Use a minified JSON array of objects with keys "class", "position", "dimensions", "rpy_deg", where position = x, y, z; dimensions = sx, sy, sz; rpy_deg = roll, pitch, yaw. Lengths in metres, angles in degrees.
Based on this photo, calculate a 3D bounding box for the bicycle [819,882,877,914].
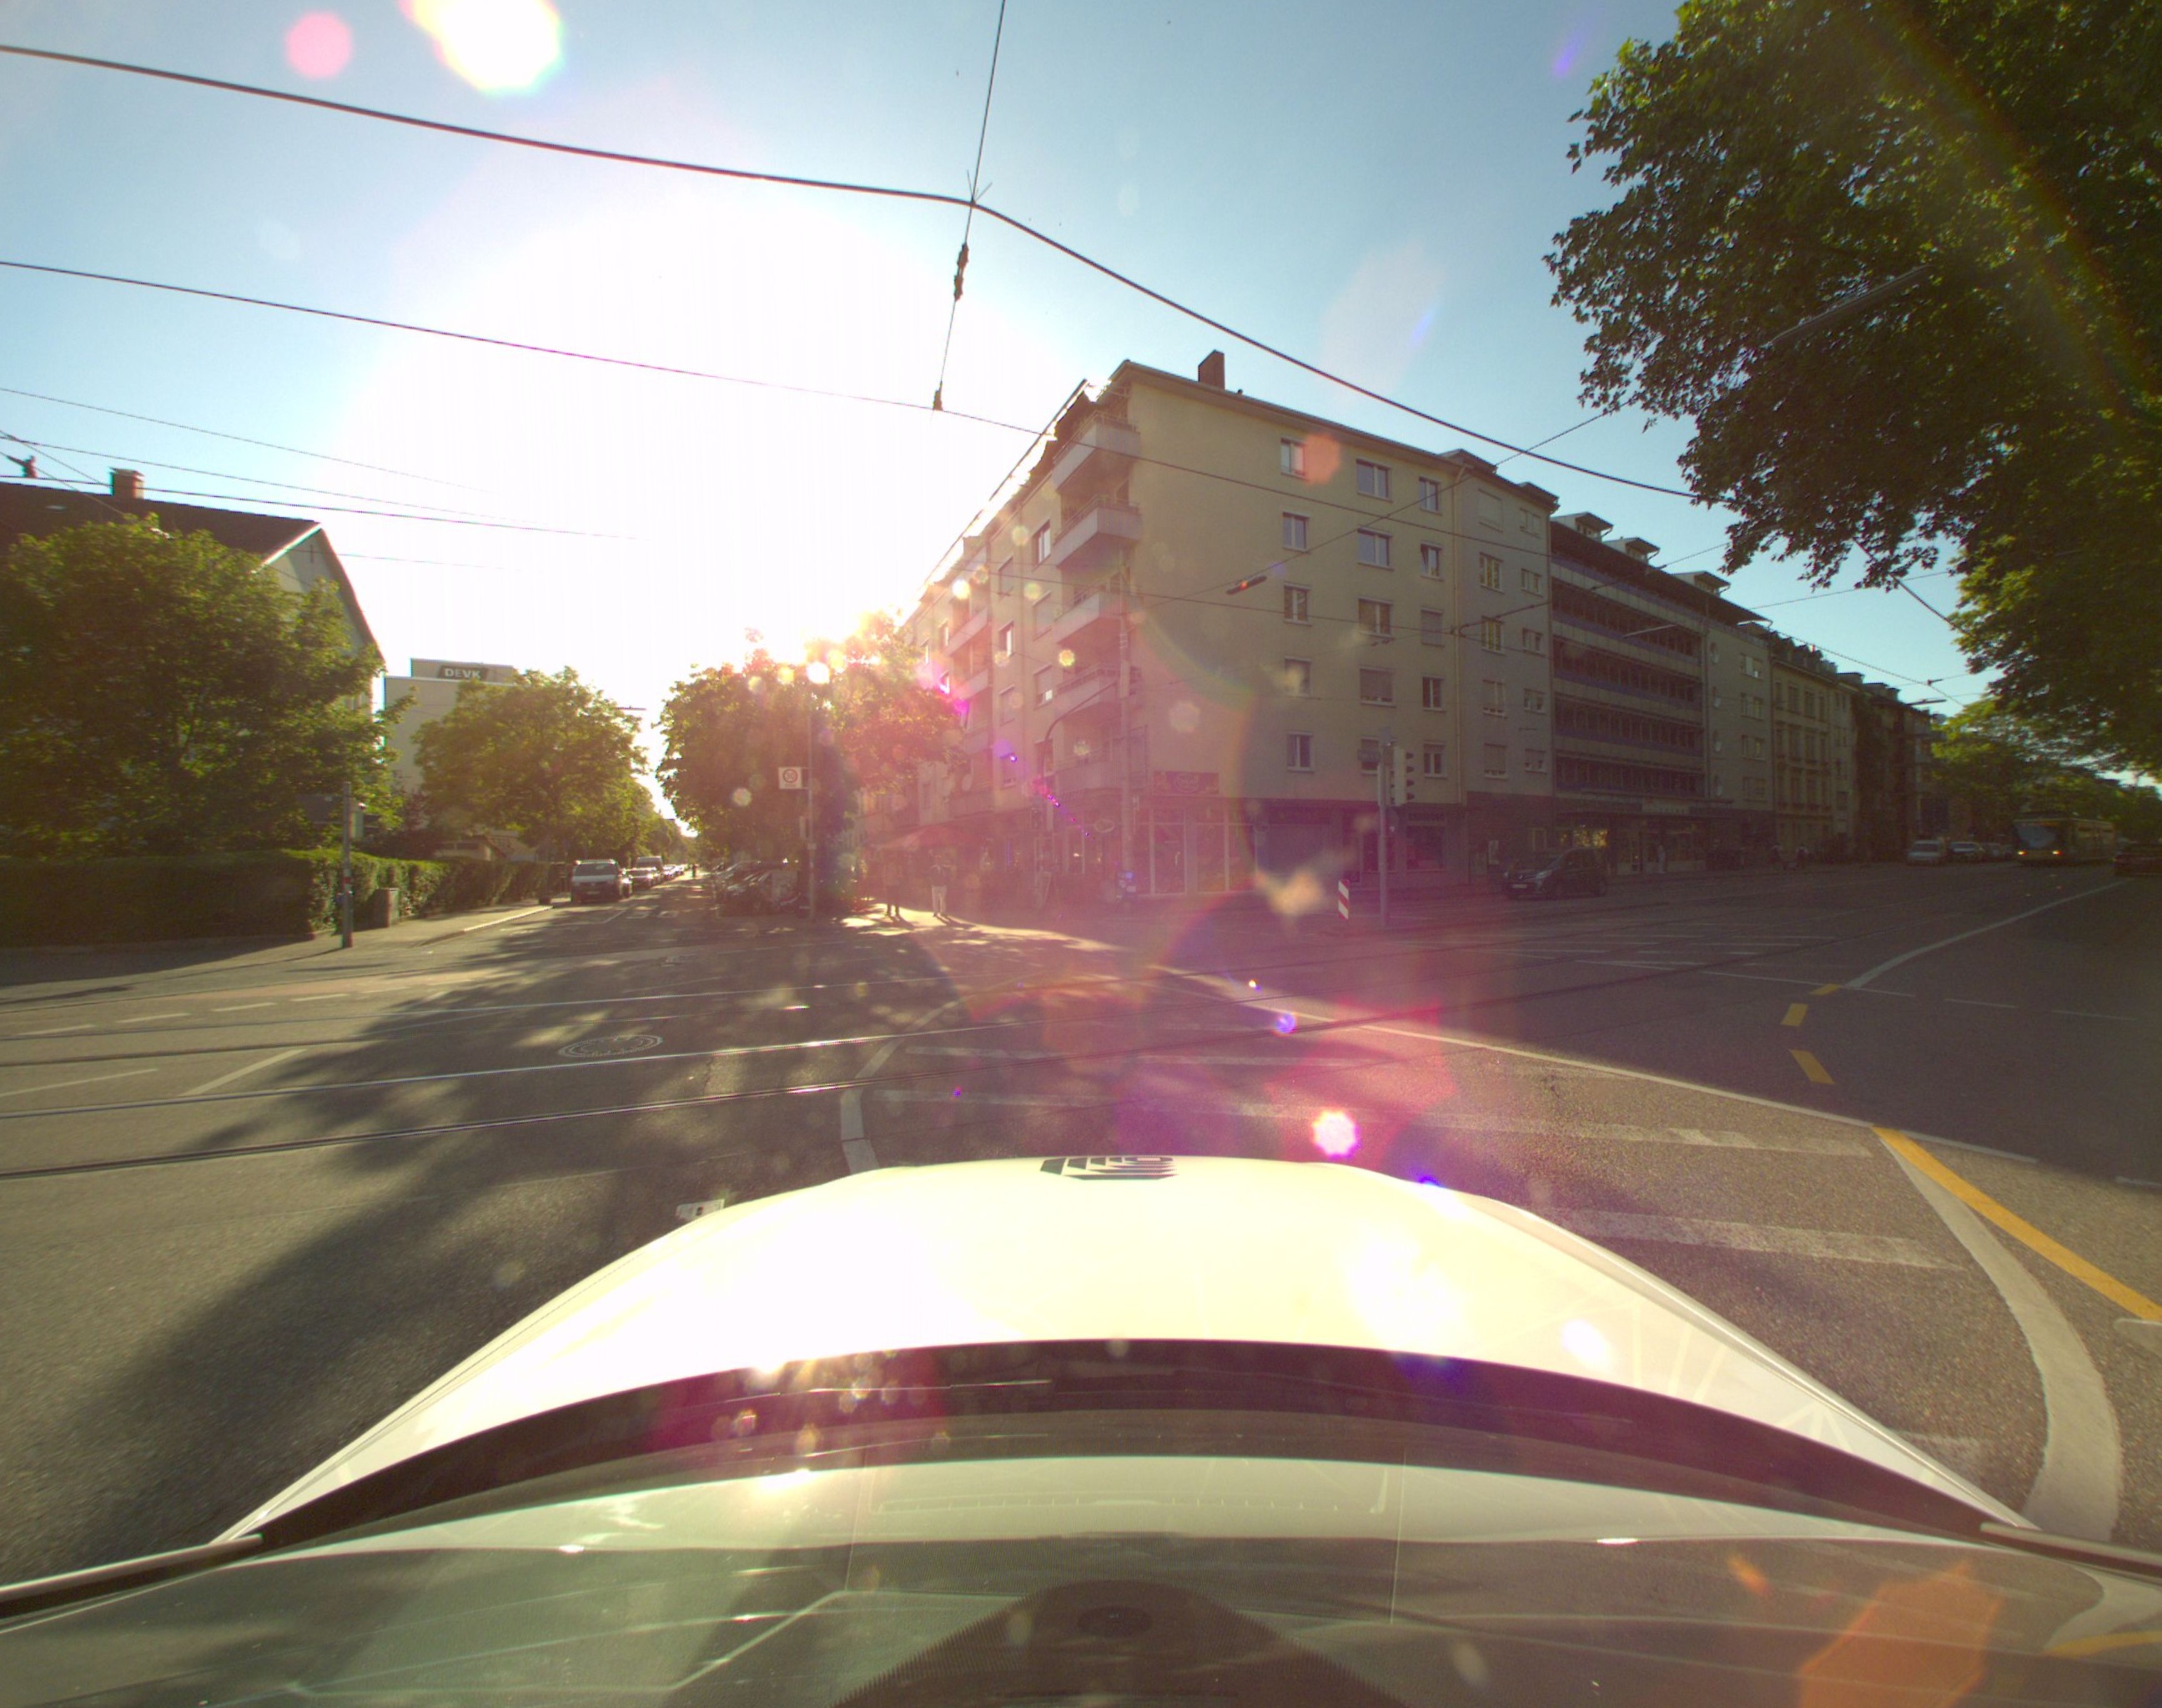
[{"class":"bicycle","position":[-7.616,1.427,26.615],"dimensions":[1.732,0.932,0.557],"rpy_deg":[-1,-1,-26]}]

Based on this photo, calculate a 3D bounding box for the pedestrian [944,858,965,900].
[{"class":"pedestrian","position":[-4.870,0.951,31.393],"dimensions":[0.622,1.591,0.473],"rpy_deg":[0,-1,-42]}]

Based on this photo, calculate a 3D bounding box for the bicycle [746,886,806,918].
[{"class":"bicycle","position":[-9.774,1.514,26.123],"dimensions":[1.732,0.932,0.666],"rpy_deg":[-1,-1,-26]}]

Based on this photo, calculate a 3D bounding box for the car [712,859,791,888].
[{"class":"car","position":[-23.871,1.440,59.037],"dimensions":[5.120,1.924,2.340],"rpy_deg":[-1,-3,-29]}]

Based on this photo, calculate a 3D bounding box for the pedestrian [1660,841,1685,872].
[{"class":"pedestrian","position":[32.457,0.154,44.669],"dimensions":[1.019,1.662,1.235],"rpy_deg":[-2,-1,37]}]

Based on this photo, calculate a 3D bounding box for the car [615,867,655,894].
[{"class":"car","position":[-31.719,1.877,58.046],"dimensions":[2.368,1.795,5.261],"rpy_deg":[-1,-1,-28]}]

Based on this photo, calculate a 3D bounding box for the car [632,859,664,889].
[{"class":"car","position":[-38.422,1.734,72.298],"dimensions":[2.368,2.514,5.261],"rpy_deg":[-1,-1,-28]}]

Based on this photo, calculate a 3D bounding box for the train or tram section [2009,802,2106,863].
[{"class":"train or tram section","position":[64.430,-1.372,53.606],"dimensions":[13.251,3.638,2.839],"rpy_deg":[-1,-1,-35]}]

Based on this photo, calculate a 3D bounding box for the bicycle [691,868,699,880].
[{"class":"bicycle","position":[-44.985,2.318,95.017],"dimensions":[0.770,1.324,1.907],"rpy_deg":[3,-4,-25]}]

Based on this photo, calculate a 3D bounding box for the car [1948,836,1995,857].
[{"class":"car","position":[68.544,-0.582,62.672],"dimensions":[4.411,1.564,1.879],"rpy_deg":[-1,-1,-35]}]

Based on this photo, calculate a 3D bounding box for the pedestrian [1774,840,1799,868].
[{"class":"pedestrian","position":[42.713,-0.004,49.289],"dimensions":[1.038,1.624,0.885],"rpy_deg":[-1,-1,-34]}]

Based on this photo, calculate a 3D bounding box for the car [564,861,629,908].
[{"class":"car","position":[-22.967,1.398,38.794],"dimensions":[2.368,2.014,5.261],"rpy_deg":[-1,-1,-28]}]

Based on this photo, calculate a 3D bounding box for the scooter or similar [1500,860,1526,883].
[{"class":"scooter or similar","position":[18.528,0.730,34.893],"dimensions":[1.439,0.954,0.462],"rpy_deg":[-1,-1,-40]}]

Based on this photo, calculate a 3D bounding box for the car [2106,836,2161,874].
[{"class":"car","position":[46.211,0.052,35.245],"dimensions":[4.409,1.564,1.879],"rpy_deg":[0,-3,-34]}]

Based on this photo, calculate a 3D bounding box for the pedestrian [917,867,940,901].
[{"class":"pedestrian","position":[-6.407,1.251,34.189],"dimensions":[0.814,1.362,0.907],"rpy_deg":[-1,-1,-20]}]

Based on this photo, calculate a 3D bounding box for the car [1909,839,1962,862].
[{"class":"car","position":[59.654,-0.253,56.859],"dimensions":[4.411,1.564,1.879],"rpy_deg":[-1,-1,-35]}]

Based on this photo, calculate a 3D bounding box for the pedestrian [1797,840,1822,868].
[{"class":"pedestrian","position":[43.568,0.016,48.699],"dimensions":[1.038,1.624,0.885],"rpy_deg":[-1,-1,-34]}]

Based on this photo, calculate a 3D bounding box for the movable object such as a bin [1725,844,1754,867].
[{"class":"movable object such as a bin","position":[40.230,0.093,49.729],"dimensions":[1.261,1.428,1.005],"rpy_deg":[-1,-1,-33]}]

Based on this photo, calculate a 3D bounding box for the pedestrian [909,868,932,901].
[{"class":"pedestrian","position":[-6.984,1.318,35.374],"dimensions":[0.814,1.362,0.908],"rpy_deg":[-1,-1,-20]}]

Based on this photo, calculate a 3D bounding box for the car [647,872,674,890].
[{"class":"car","position":[-44.756,2.868,86.765],"dimensions":[2.366,1.795,5.266],"rpy_deg":[-1,-1,-25]}]

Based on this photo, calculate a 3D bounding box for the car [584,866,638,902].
[{"class":"car","position":[-25.513,1.599,44.399],"dimensions":[2.368,1.795,5.261],"rpy_deg":[-1,-1,-28]}]

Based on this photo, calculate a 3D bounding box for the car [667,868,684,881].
[{"class":"car","position":[-55.585,2.831,111.688],"dimensions":[2.004,1.689,3.964],"rpy_deg":[3,-4,-27]}]

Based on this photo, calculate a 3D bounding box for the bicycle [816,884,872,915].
[{"class":"bicycle","position":[-7.944,1.510,27.300],"dimensions":[1.732,0.932,0.557],"rpy_deg":[-1,-1,-26]}]

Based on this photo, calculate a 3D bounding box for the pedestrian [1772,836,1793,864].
[{"class":"pedestrian","position":[47.701,-0.246,55.376],"dimensions":[0.792,1.864,0.885],"rpy_deg":[-1,-1,-34]}]

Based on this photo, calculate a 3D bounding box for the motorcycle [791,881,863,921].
[{"class":"motorcycle","position":[-7.755,1.409,24.893],"dimensions":[1.964,1.109,0.829],"rpy_deg":[-1,-1,-31]}]

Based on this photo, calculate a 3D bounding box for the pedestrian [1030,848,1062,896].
[{"class":"pedestrian","position":[-1.316,0.675,30.802],"dimensions":[0.917,1.771,0.805],"rpy_deg":[-1,-1,-33]}]

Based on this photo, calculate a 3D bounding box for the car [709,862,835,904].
[{"class":"car","position":[-15.585,1.445,41.126],"dimensions":[5.653,1.924,2.340],"rpy_deg":[-1,-3,-29]}]

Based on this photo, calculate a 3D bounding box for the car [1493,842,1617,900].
[{"class":"car","position":[16.217,0.542,27.808],"dimensions":[4.378,1.806,1.895],"rpy_deg":[-1,-1,-33]}]

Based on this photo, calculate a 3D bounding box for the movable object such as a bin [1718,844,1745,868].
[{"class":"movable object such as a bin","position":[39.067,0.140,48.874],"dimensions":[1.150,1.428,1.004],"rpy_deg":[-1,-1,-38]}]

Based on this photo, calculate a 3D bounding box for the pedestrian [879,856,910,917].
[{"class":"pedestrian","position":[-5.495,0.946,24.035],"dimensions":[0.695,1.750,0.788],"rpy_deg":[-1,-1,-28]}]

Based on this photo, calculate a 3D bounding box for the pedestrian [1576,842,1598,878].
[{"class":"pedestrian","position":[23.520,0.294,37.865],"dimensions":[0.628,1.648,0.658],"rpy_deg":[-1,-1,-35]}]

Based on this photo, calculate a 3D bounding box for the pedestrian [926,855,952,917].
[{"class":"pedestrian","position":[-4.118,0.919,23.552],"dimensions":[0.691,1.750,0.837],"rpy_deg":[-1,-1,-13]}]

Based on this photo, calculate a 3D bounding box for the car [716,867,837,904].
[{"class":"car","position":[-14.495,1.496,38.797],"dimensions":[5.120,1.557,2.340],"rpy_deg":[-1,-3,-29]}]

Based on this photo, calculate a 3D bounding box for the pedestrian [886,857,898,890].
[{"class":"pedestrian","position":[-11.740,1.193,50.583],"dimensions":[0.539,2.014,0.506],"rpy_deg":[-1,-1,-33]}]
